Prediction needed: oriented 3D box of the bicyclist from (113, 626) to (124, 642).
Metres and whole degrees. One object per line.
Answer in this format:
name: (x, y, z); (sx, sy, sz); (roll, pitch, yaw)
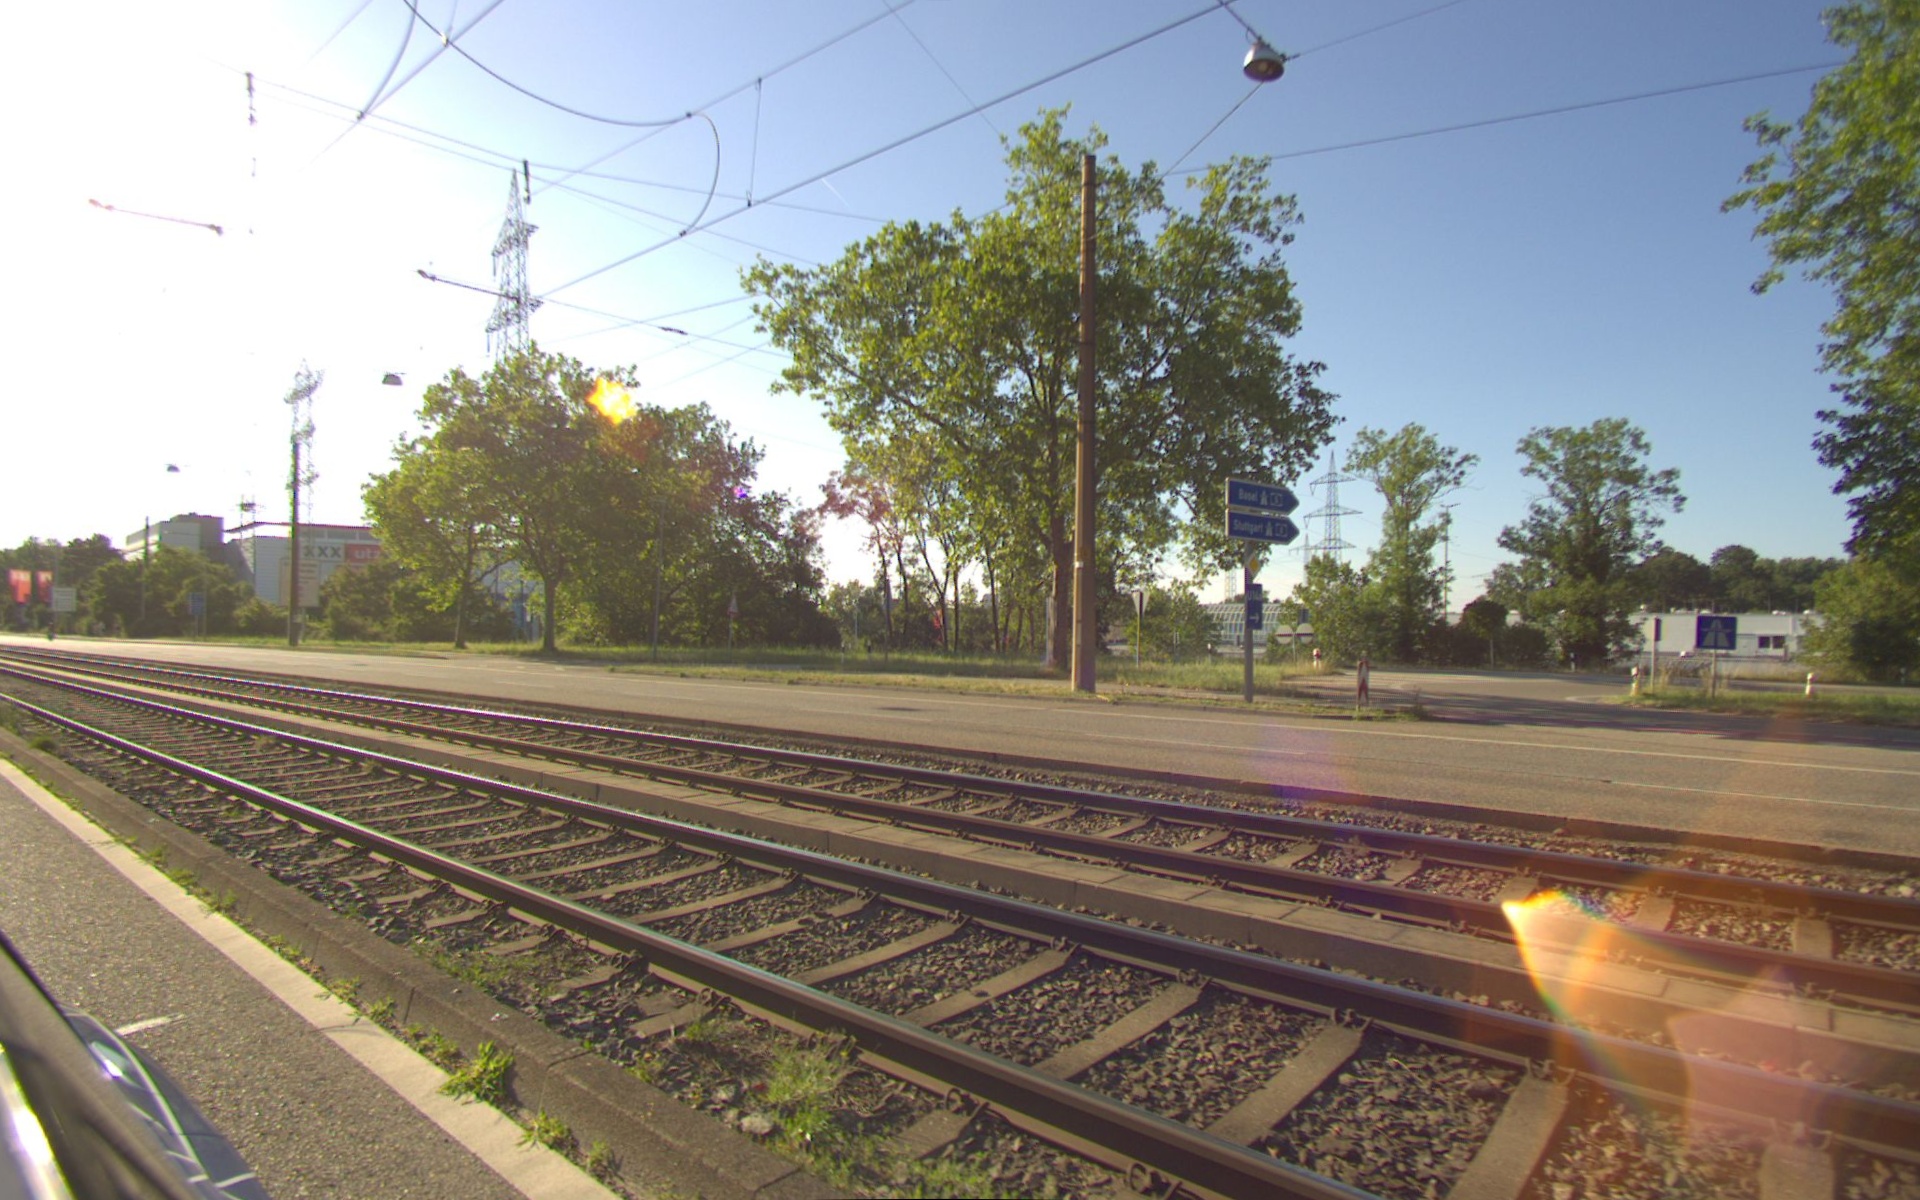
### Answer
bicyclist: (-81.100, 3.307, 97.534); (0.905, 1.540, 0.584); (-1, -2, 40)

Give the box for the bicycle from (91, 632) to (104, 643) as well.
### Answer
bicycle: (-82.103, 3.603, 96.300); (2.184, 1.029, 0.584); (-1, -2, 41)

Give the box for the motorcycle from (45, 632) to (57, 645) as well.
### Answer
motorcycle: (-78.399, 3.337, 87.311); (1.901, 1.099, 0.530); (-1, 0, 41)

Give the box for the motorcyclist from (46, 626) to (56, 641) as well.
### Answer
motorcyclist: (-78.418, 2.911, 87.321); (0.804, 1.280, 0.530); (-1, 0, 41)

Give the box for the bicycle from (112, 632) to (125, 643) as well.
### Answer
bicycle: (-81.099, 3.577, 97.530); (2.184, 1.029, 0.584); (-1, -2, 41)

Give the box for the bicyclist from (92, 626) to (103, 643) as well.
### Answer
bicyclist: (-81.989, 3.311, 96.195); (0.966, 1.623, 0.584); (-1, -2, 40)
